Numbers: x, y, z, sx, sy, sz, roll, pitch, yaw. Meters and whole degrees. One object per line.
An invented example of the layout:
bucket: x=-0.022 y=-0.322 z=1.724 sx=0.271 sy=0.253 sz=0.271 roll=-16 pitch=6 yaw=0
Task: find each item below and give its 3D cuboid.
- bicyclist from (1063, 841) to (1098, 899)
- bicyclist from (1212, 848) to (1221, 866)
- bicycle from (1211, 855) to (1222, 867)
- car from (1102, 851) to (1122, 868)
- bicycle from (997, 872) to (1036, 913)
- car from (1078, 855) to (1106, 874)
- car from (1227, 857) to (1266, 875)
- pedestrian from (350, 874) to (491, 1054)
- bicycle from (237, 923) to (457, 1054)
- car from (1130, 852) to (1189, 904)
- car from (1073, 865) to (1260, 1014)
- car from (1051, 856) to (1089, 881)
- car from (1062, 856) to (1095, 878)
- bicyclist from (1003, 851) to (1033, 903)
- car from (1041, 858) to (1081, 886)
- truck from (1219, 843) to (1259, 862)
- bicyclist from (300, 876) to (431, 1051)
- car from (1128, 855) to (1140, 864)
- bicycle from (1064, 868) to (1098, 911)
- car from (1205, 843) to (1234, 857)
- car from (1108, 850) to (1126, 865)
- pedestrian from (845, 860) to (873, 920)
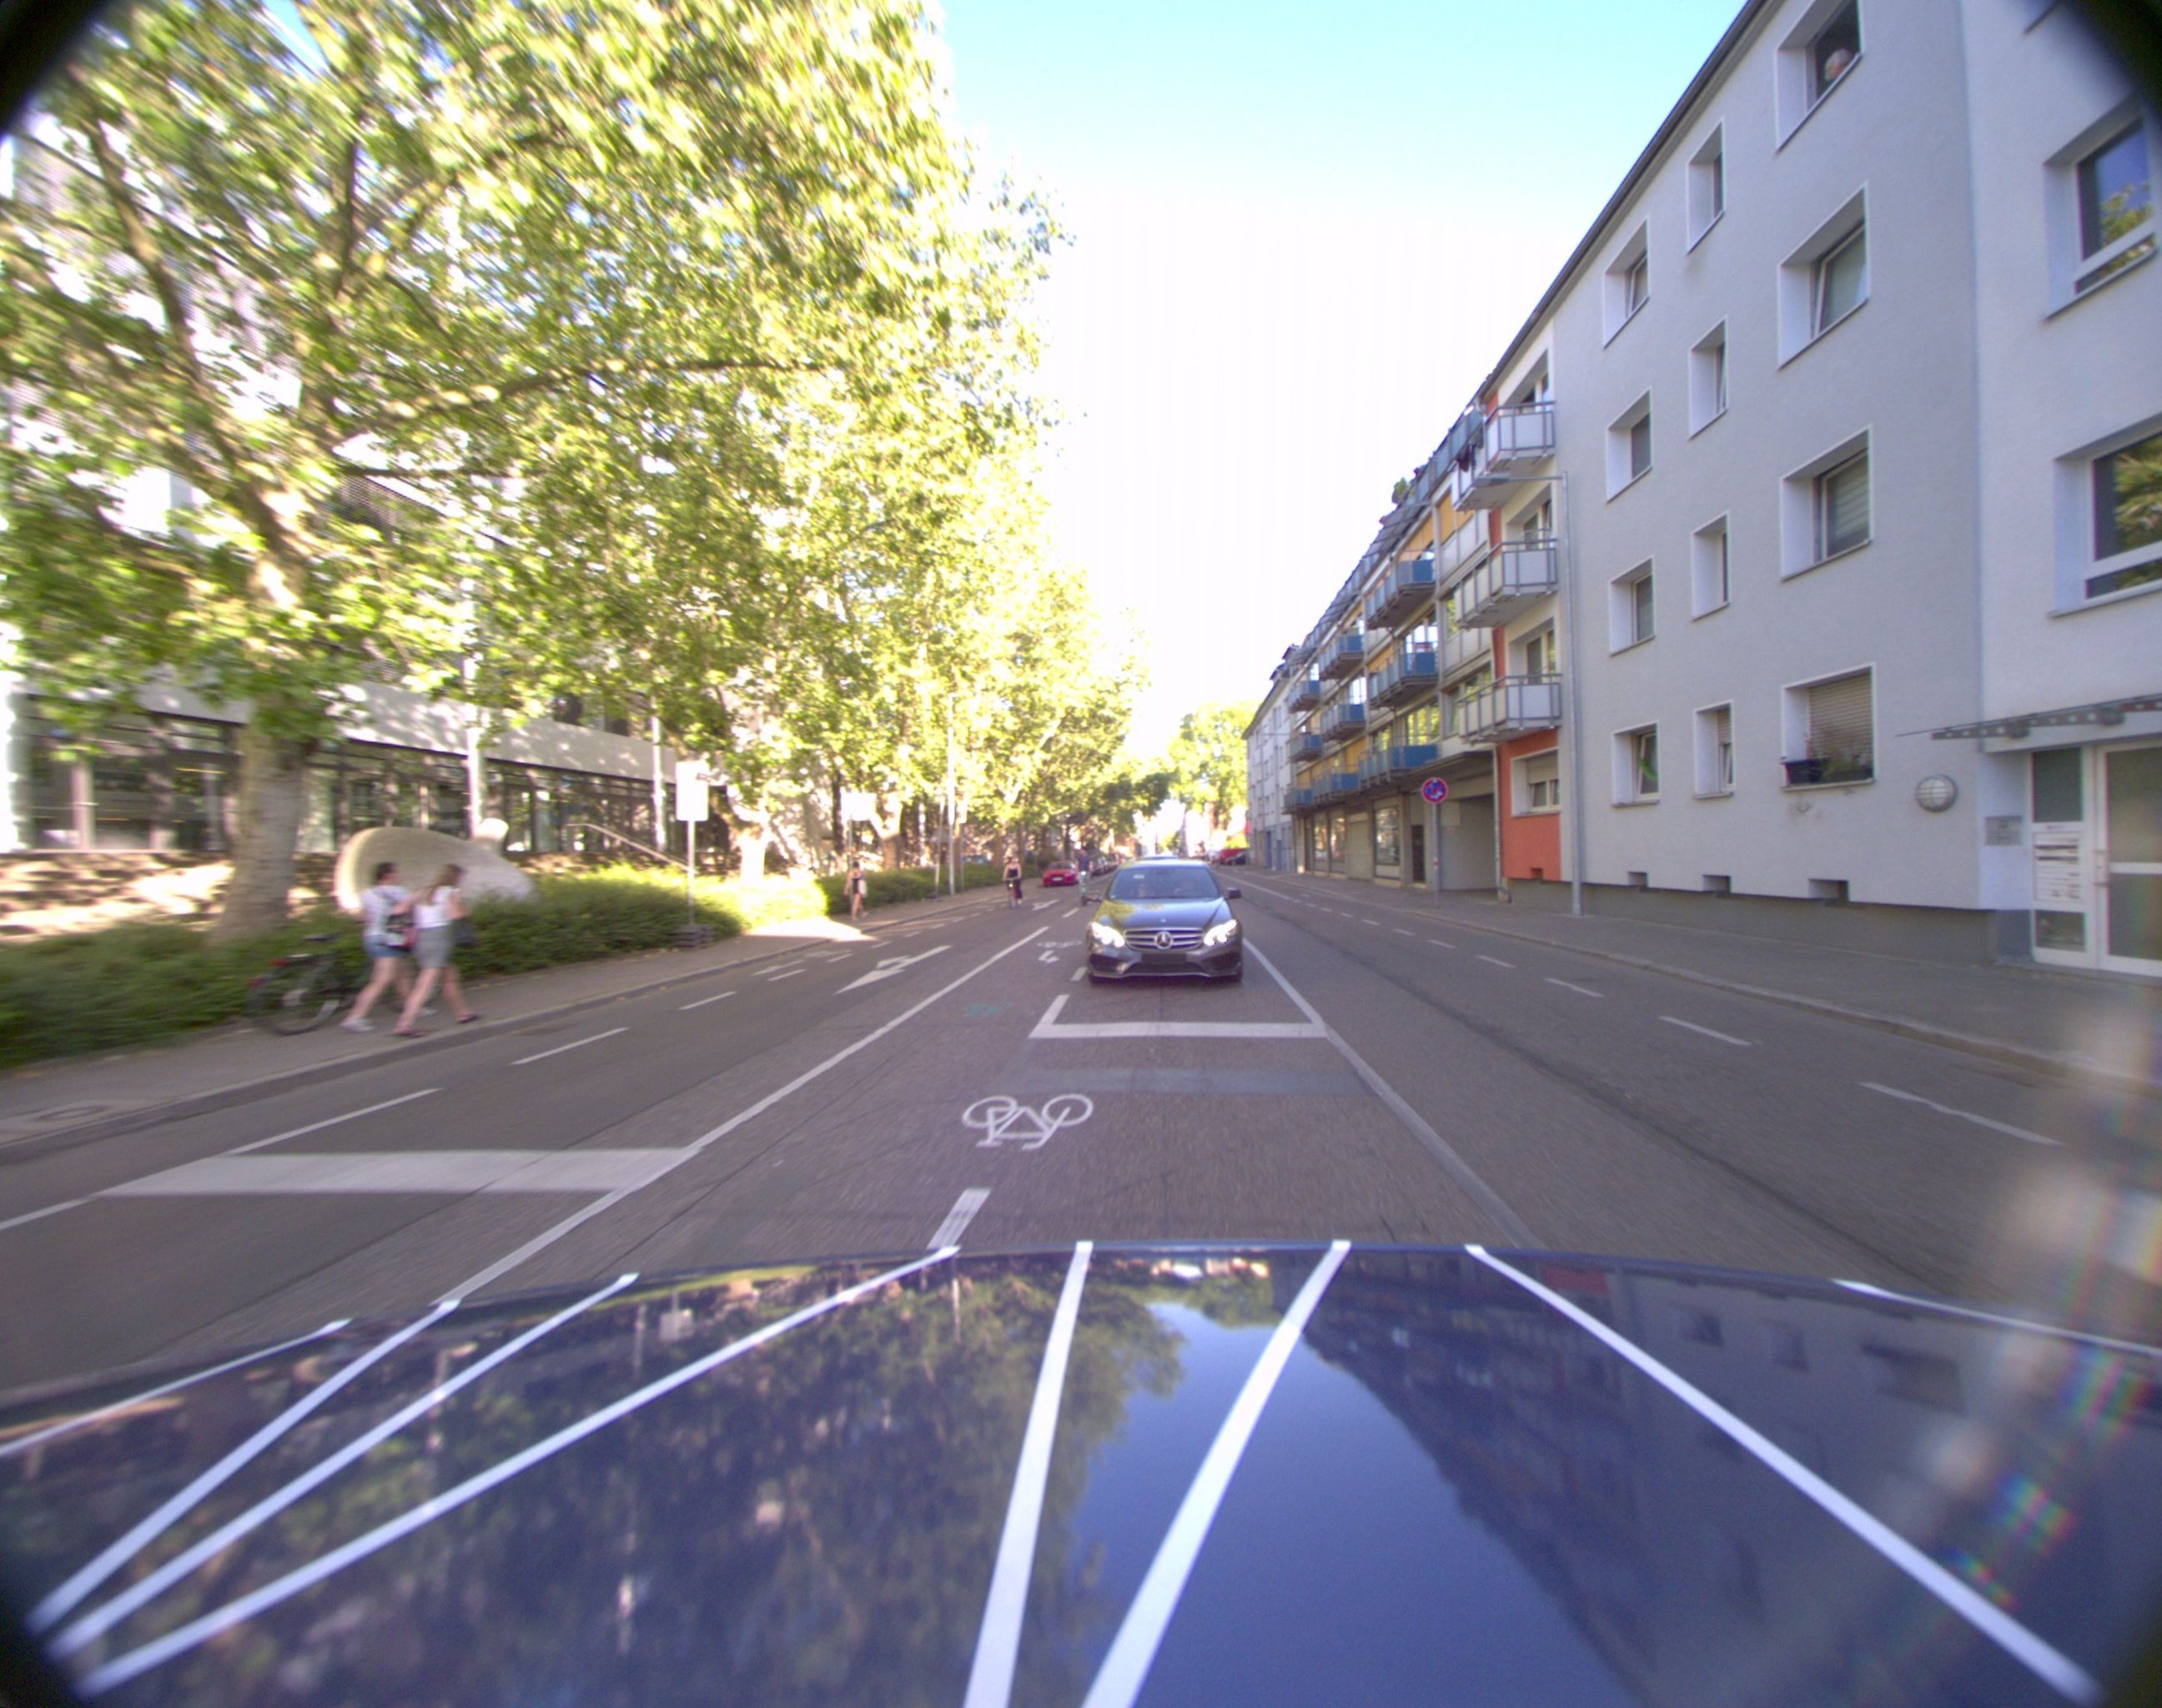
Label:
bicyclist: x=-0.009 y=0.509 z=24.523 sx=0.770 sy=1.722 sz=0.901 roll=-9 pitch=1 yaw=5
bicyclist: x=12.387 y=0.302 z=69.568 sx=0.691 sy=1.621 sz=0.759 roll=-1 pitch=1 yaw=5
bicycle: x=12.396 y=0.641 z=69.531 sx=0.691 sy=0.980 sz=2.632 roll=-1 pitch=1 yaw=5
car: x=3.568 y=0.558 z=85.994 sx=1.897 sy=1.840 sz=4.079 roll=-2 pitch=0 yaw=7
bicycle: x=-2.068 y=1.224 z=24.906 sx=0.770 sy=1.129 sz=2.816 roll=-2 pitch=1 yaw=5
car: x=0.974 y=0.863 z=63.893 sx=1.897 sy=1.443 sz=4.079 roll=-2 pitch=0 yaw=7
car: x=18.324 y=1.277 z=84.125 sx=3.996 sy=1.825 sz=1.831 roll=-2 pitch=1 yaw=4
pedestrian: x=-6.646 y=1.071 z=7.681 sx=0.775 sy=1.709 sz=0.692 roll=0 pitch=1 yaw=5
bicycle: x=-7.434 y=1.316 z=7.818 sx=0.522 sy=1.029 sz=1.648 roll=-2 pitch=1 yaw=5
car: x=2.800 y=0.757 z=26.349 sx=1.746 sy=1.594 sz=4.002 roll=-2 pitch=1 yaw=9
car: x=1.443 y=0.951 z=10.603 sx=1.796 sy=1.460 sz=4.724 roll=0 pitch=1 yaw=16
car: x=-0.643 y=0.923 z=49.082 sx=1.897 sy=1.439 sz=4.079 roll=-2 pitch=0 yaw=7
car: x=-0.129 y=0.916 z=54.563 sx=1.897 sy=1.443 sz=4.079 roll=-2 pitch=0 yaw=7
bicyclist: x=-2.078 y=0.748 z=25.128 sx=0.770 sy=1.670 sz=0.896 roll=-3 pitch=1 yaw=5
car: x=-1.119 y=1.008 z=44.385 sx=1.898 sy=1.435 sz=4.078 roll=-2 pitch=0 yaw=4
truck: x=18.528 y=-0.189 z=89.385 sx=4.402 sy=2.146 sz=1.878 roll=-2 pitch=1 yaw=4
bicyclist: x=-7.380 y=1.103 z=7.866 sx=0.634 sy=1.704 sz=0.655 roll=-1 pitch=3 yaw=5
car: x=9.333 y=0.984 z=132.845 sx=1.897 sy=1.542 sz=4.079 roll=-2 pitch=0 yaw=7
bicycle: x=0.035 y=1.101 z=24.378 sx=0.770 sy=1.129 sz=2.816 roll=-3 pitch=1 yaw=5
car: x=20.893 y=-0.609 z=114.544 sx=3.996 sy=2.002 sz=2.000 roll=-2 pitch=1 yaw=4
car: x=4.603 y=0.425 z=96.940 sx=1.897 sy=1.807 sz=4.079 roll=-2 pitch=0 yaw=7
pedestrian: x=-6.073 y=0.977 z=20.782 sx=0.462 sy=1.585 sz=0.683 roll=-2 pitch=1 yaw=5
